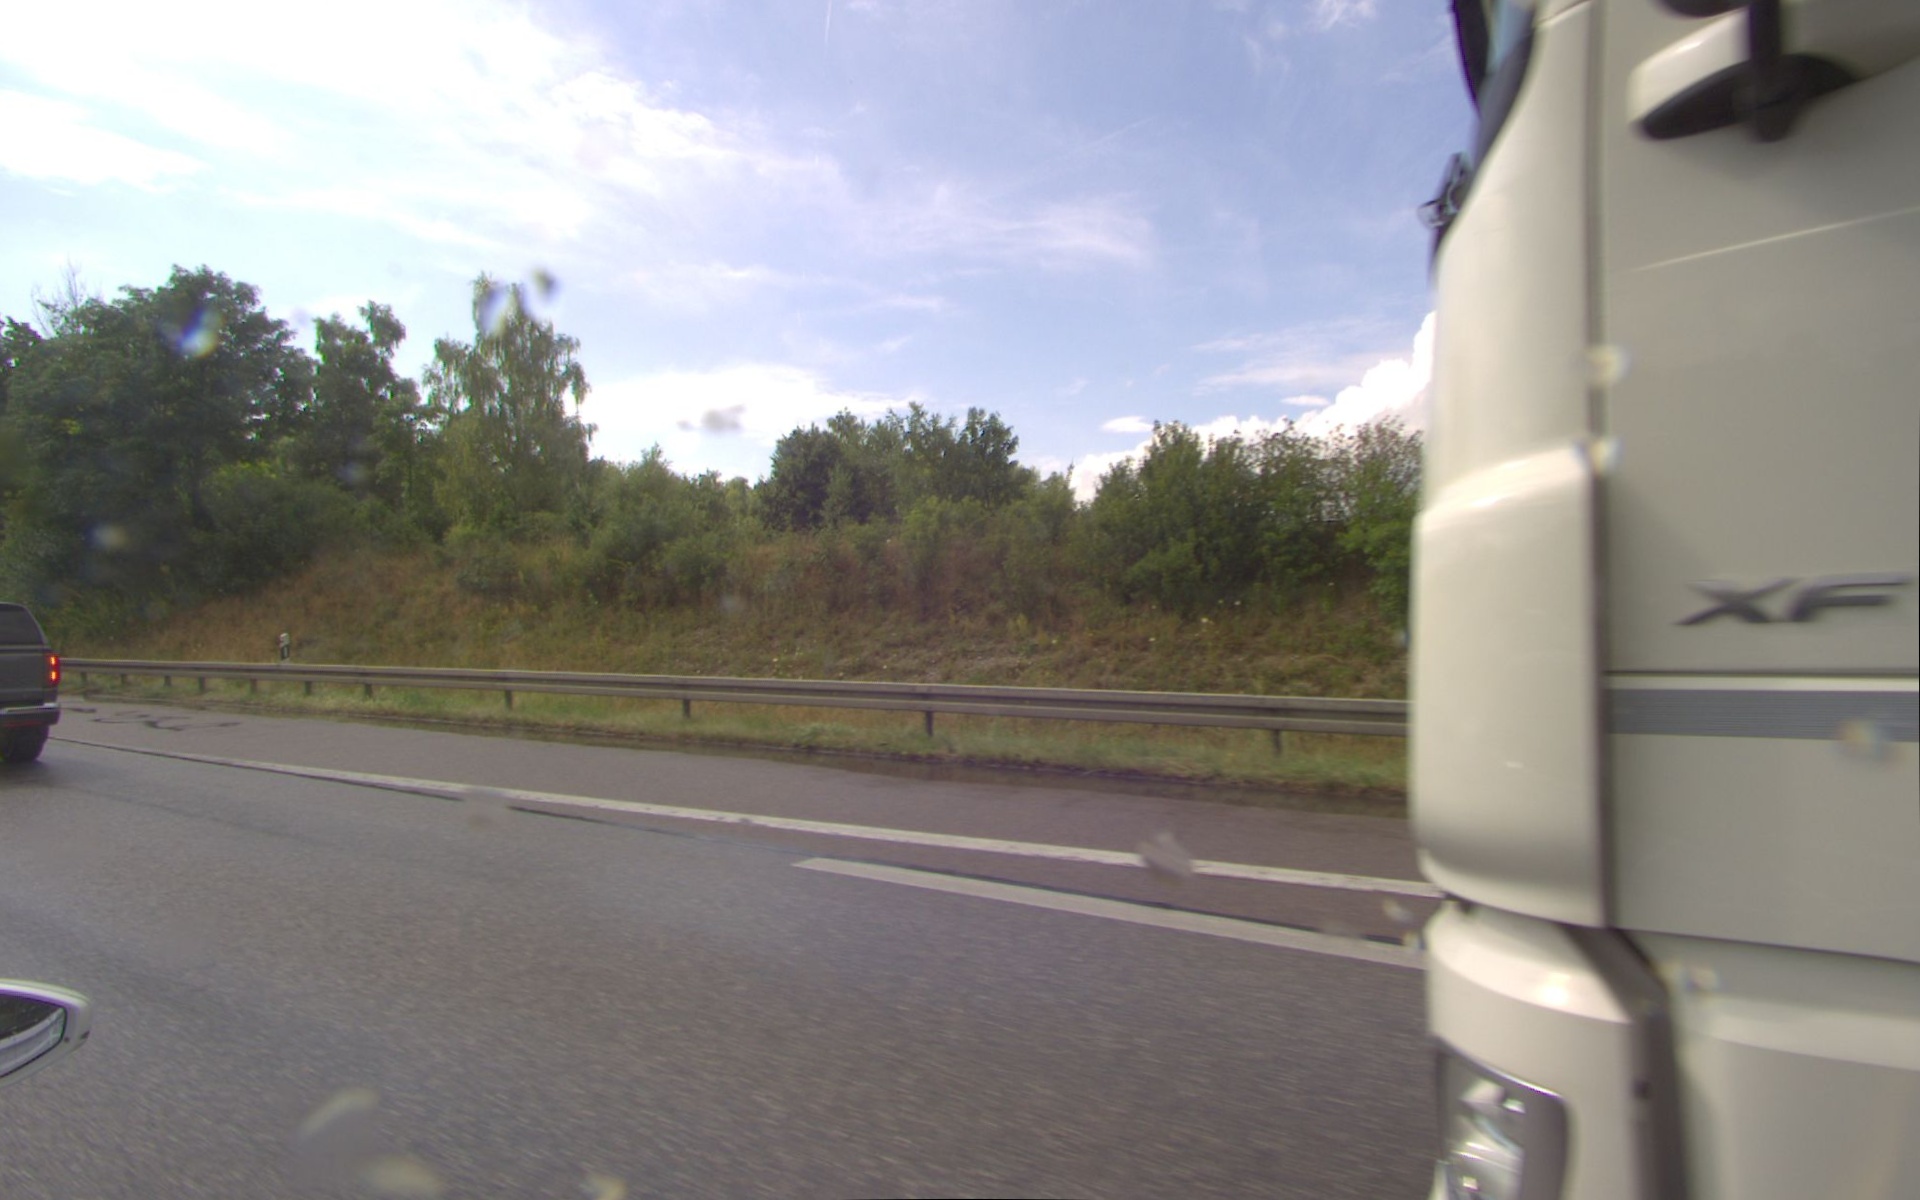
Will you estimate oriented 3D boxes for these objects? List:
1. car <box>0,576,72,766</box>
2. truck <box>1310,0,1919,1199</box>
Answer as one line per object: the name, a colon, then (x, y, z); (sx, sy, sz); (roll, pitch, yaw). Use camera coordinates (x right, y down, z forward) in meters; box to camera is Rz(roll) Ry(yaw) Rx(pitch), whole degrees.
car: (-12.387, 0.775, 11.354); (5.570, 1.943, 1.939); (-1, -2, 31)
truck: (3.908, -0.511, 0.894); (6.302, 3.940, 3.280); (-1, -2, 31)
